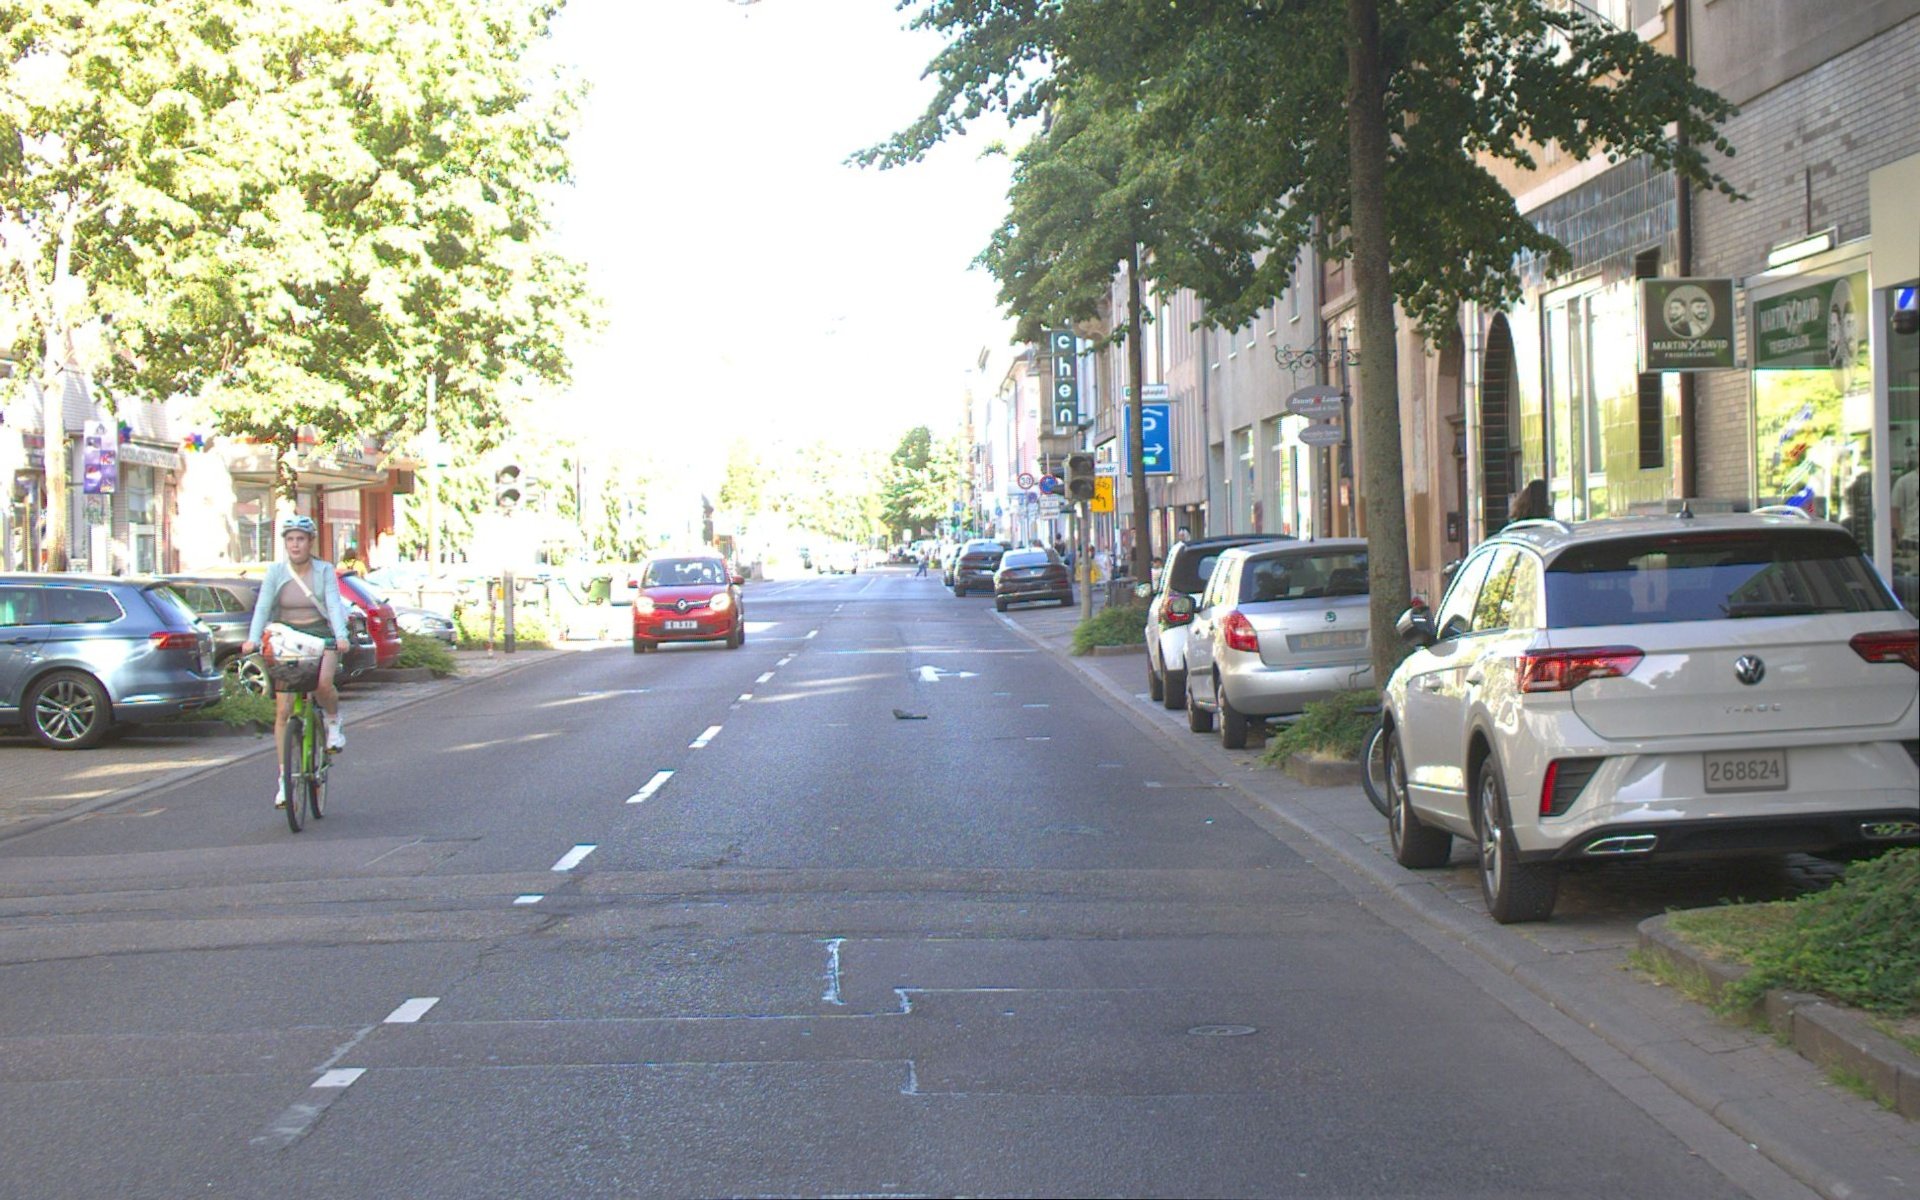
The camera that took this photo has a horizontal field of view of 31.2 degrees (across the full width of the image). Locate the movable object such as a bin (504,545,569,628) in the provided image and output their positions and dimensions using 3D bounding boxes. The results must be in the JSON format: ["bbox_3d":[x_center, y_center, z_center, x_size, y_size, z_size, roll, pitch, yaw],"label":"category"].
[{"bbox_3d":[-7.768,-0.261,63.086,1.042,1.466,1.143,-2,1,-2],"label":"movable object such as a bin"}]

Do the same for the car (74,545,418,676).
[{"bbox_3d":[-8.478,0.109,41.043,3.748,1.463,1.740,-1,1,-1],"label":"car"}]

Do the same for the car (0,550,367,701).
[{"bbox_3d":[-8.299,0.249,35.774,3.919,1.480,1.771,-1,1,1],"label":"car"}]

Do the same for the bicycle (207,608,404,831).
[{"bbox_3d":[-3.829,0.670,20.278,0.725,1.165,2.197,-1,1,0],"label":"bicycle"}]

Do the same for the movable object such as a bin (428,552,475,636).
[{"bbox_3d":[-8.289,-0.102,56.036,0.634,1.336,0.805,-2,1,-2],"label":"movable object such as a bin"}]

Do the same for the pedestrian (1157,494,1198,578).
[{"bbox_3d":[4.187,-1.229,66.241,0.580,1.554,1.021,-4,1,-2],"label":"pedestrian"}]

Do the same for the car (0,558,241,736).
[{"bbox_3d":[-8.546,0.375,29.295,4.492,1.453,1.790,0,1,-2],"label":"car"}]

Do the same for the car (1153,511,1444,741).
[{"bbox_3d":[2.543,0.141,26.741,1.614,1.523,4.235,-5,1,-2],"label":"car"}]

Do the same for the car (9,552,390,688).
[{"bbox_3d":[-8.472,0.210,38.512,3.841,1.424,1.790,-1,1,1],"label":"car"}]

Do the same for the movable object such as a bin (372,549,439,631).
[{"bbox_3d":[-10.184,-0.190,63.165,1.042,1.466,1.143,-2,1,-2],"label":"movable object such as a bin"}]

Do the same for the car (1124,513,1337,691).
[{"bbox_3d":[2.527,-0.008,32.708,1.613,1.523,3.061,-3,1,-2],"label":"car"}]

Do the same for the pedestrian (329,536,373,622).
[{"bbox_3d":[-11.995,-0.425,67.692,0.665,1.653,1.037,-2,1,-1],"label":"pedestrian"}]

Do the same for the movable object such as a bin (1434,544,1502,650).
[{"bbox_3d":[5.174,-0.037,35.049,0.522,1.036,0.722,-4,1,0],"label":"movable object such as a bin"}]

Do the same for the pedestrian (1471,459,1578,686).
[{"bbox_3d":[4.522,-0.227,27.557,0.623,1.759,0.771,-4,1,0],"label":"pedestrian"}]

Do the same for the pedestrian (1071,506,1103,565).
[{"bbox_3d":[3.642,-1.854,98.673,0.801,1.669,0.589,-3,1,2],"label":"pedestrian"}]

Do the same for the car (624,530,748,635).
[{"bbox_3d":[-4.377,-0.310,55.307,1.658,1.529,3.761,-3,1,-1],"label":"car"}]

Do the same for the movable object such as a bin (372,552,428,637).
[{"bbox_3d":[-9.106,-0.094,55.956,0.754,1.336,0.805,-2,1,-2],"label":"movable object such as a bin"}]

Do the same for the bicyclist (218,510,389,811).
[{"bbox_3d":[-3.836,0.329,20.170,0.725,1.694,1.282,-1,1,0],"label":"bicyclist"}]

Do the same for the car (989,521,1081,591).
[{"bbox_3d":[1.759,-1.084,82.464,1.917,1.473,4.965,-5,1,-1],"label":"car"}]

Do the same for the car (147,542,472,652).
[{"bbox_3d":[-9.114,-0.052,48.386,4.203,1.463,1.740,-1,1,1],"label":"car"}]

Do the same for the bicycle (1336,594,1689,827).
[{"bbox_3d":[2.846,0.562,17.783,1.622,1.009,0.611,-6,1,-2],"label":"bicycle"}]

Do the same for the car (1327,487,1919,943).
[{"bbox_3d":[2.807,0.356,14.416,1.883,1.521,4.234,-4,1,-1],"label":"car"}]

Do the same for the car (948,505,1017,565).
[{"bbox_3d":[0.640,-1.950,101.998,1.973,1.719,4.824,0,1,-1],"label":"car"}]

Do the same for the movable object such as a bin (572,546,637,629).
[{"bbox_3d":[-6.535,-0.244,63.262,1.042,1.466,1.453,-2,1,-2],"label":"movable object such as a bin"}]

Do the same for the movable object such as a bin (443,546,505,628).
[{"bbox_3d":[-8.932,-0.252,63.245,0.964,1.466,1.143,-2,1,-2],"label":"movable object such as a bin"}]
